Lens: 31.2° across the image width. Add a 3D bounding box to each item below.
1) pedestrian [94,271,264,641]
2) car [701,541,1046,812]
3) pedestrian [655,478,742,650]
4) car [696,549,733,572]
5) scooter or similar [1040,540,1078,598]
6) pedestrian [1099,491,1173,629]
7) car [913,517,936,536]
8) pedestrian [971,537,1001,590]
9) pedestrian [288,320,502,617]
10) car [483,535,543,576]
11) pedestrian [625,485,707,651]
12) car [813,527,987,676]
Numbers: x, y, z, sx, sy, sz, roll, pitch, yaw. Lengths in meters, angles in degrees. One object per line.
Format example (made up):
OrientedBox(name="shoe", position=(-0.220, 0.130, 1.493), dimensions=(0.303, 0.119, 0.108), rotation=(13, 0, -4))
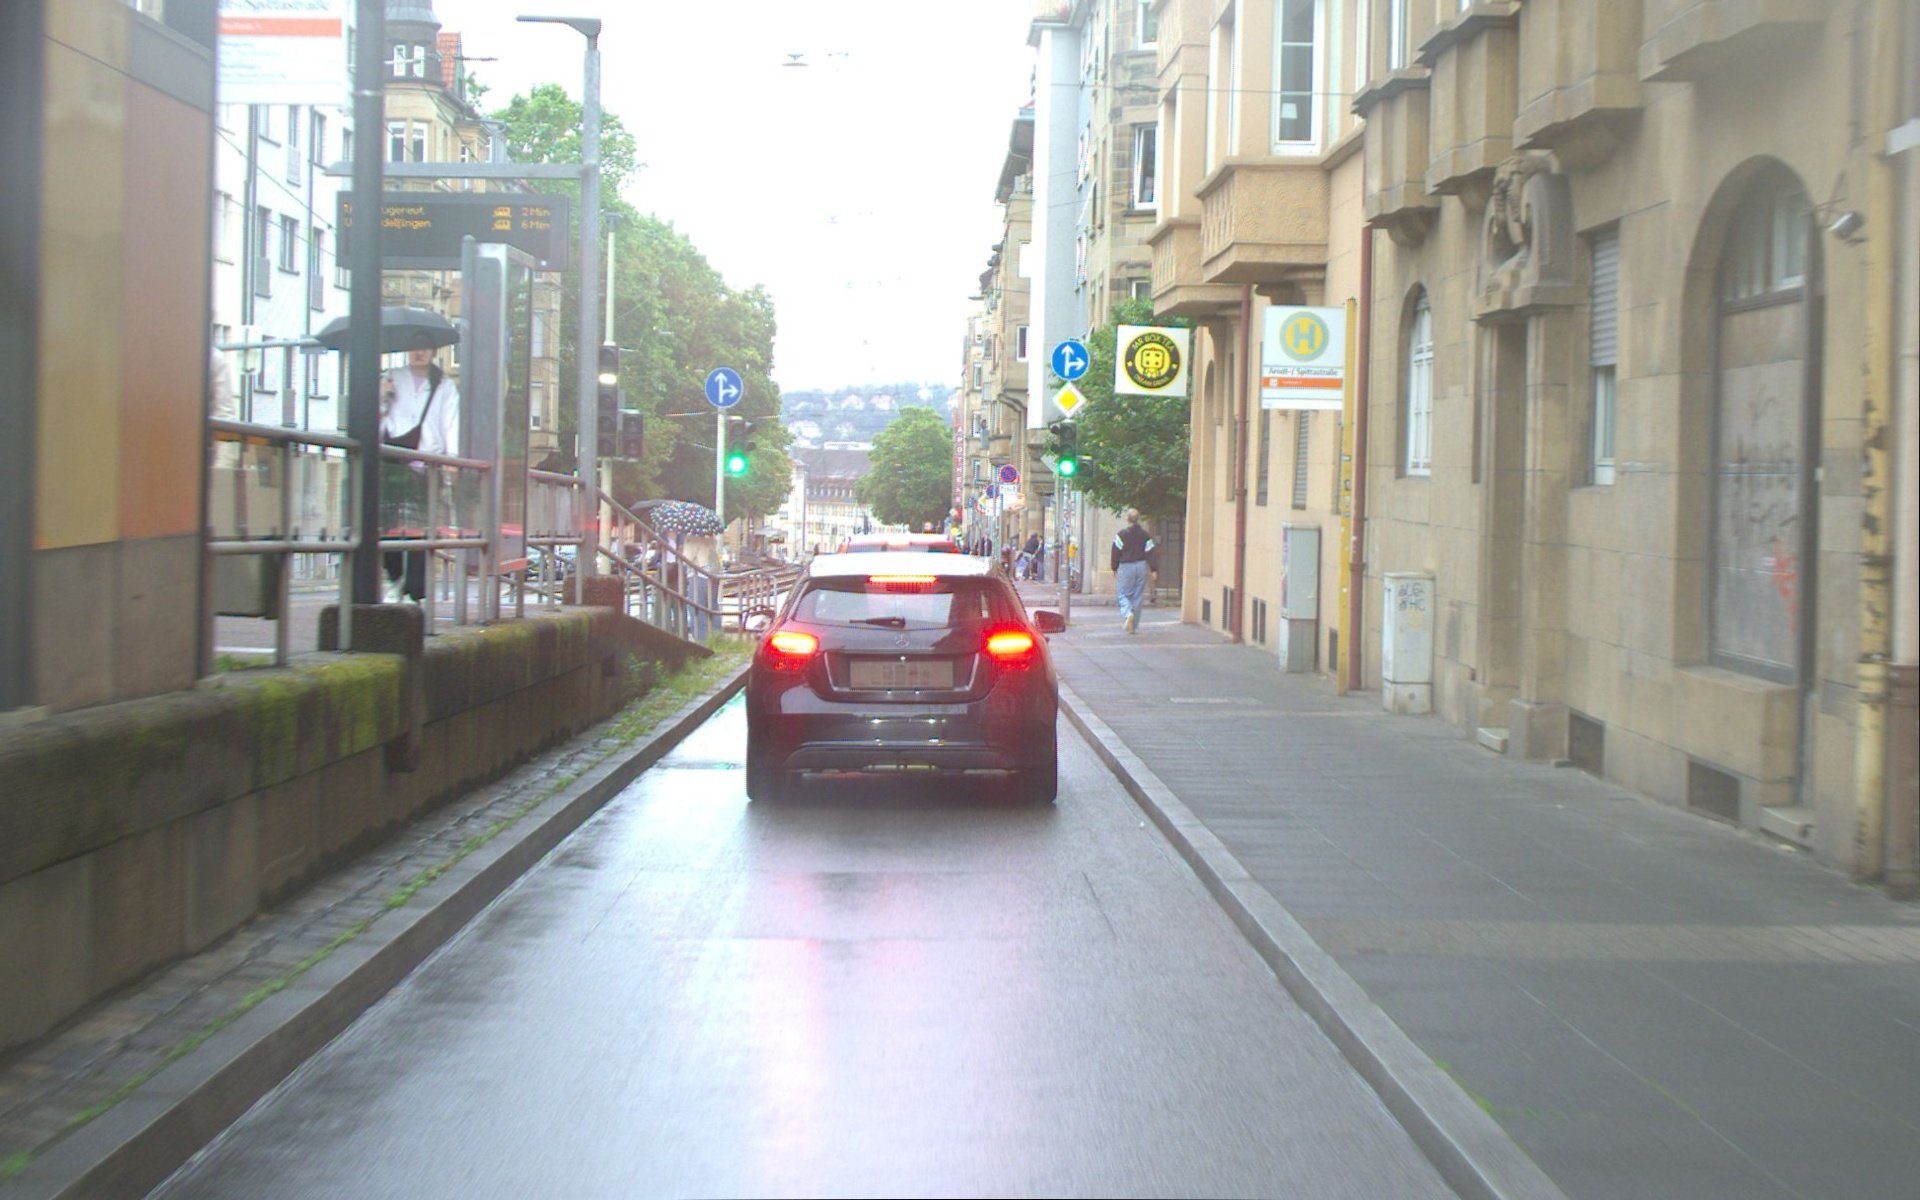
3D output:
OrientedBox(name="pedestrian", position=(-3.845, -0.700, 16.964), dimensions=(0.643, 1.768, 0.710), rotation=(1, 1, 0))
OrientedBox(name="car", position=(-0.434, 0.384, 20.815), dimensions=(1.866, 1.447, 4.000), rotation=(1, 1, 1))
OrientedBox(name="pedestrian", position=(-3.118, -0.430, 41.017), dimensions=(0.926, 2.007, 0.947), rotation=(1, 1, 0))
OrientedBox(name="car", position=(-15.037, -2.415, 210.817), dimensions=(1.948, 1.392, 4.274), rotation=(-1, 1, 0))
OrientedBox(name="scooter or similar", position=(2.101, -0.664, 73.250), dimensions=(0.638, 1.206, 1.553), rotation=(0, 1, -5))
OrientedBox(name="pedestrian", position=(2.423, -0.549, 47.165), dimensions=(0.899, 1.834, 0.968), rotation=(-3, 1, 5))
OrientedBox(name="car", position=(-2.539, -5.241, 245.405), dimensions=(1.613, 1.313, 4.000), rotation=(2, 1, -1))
OrientedBox(name="pedestrian", position=(0.887, -1.242, 116.032), dimensions=(0.945, 1.763, 1.015), rotation=(0, 1, -2))
OrientedBox(name="pedestrian", position=(-3.489, -0.805, 21.319), dimensions=(1.114, 1.768, 1.111), rotation=(1, 1, 0))
OrientedBox(name="car", position=(-17.365, -1.735, 133.744), dimensions=(1.722, 1.536, 3.934), rotation=(0, 1, 1))
OrientedBox(name="pedestrian", position=(-3.636, -0.399, 42.625), dimensions=(0.897, 2.007, 0.947), rotation=(1, 1, 0))
OrientedBox(name="car", position=(-0.577, -0.018, 36.037), dimensions=(1.649, 1.447, 4.000), rotation=(1, 1, 1))
